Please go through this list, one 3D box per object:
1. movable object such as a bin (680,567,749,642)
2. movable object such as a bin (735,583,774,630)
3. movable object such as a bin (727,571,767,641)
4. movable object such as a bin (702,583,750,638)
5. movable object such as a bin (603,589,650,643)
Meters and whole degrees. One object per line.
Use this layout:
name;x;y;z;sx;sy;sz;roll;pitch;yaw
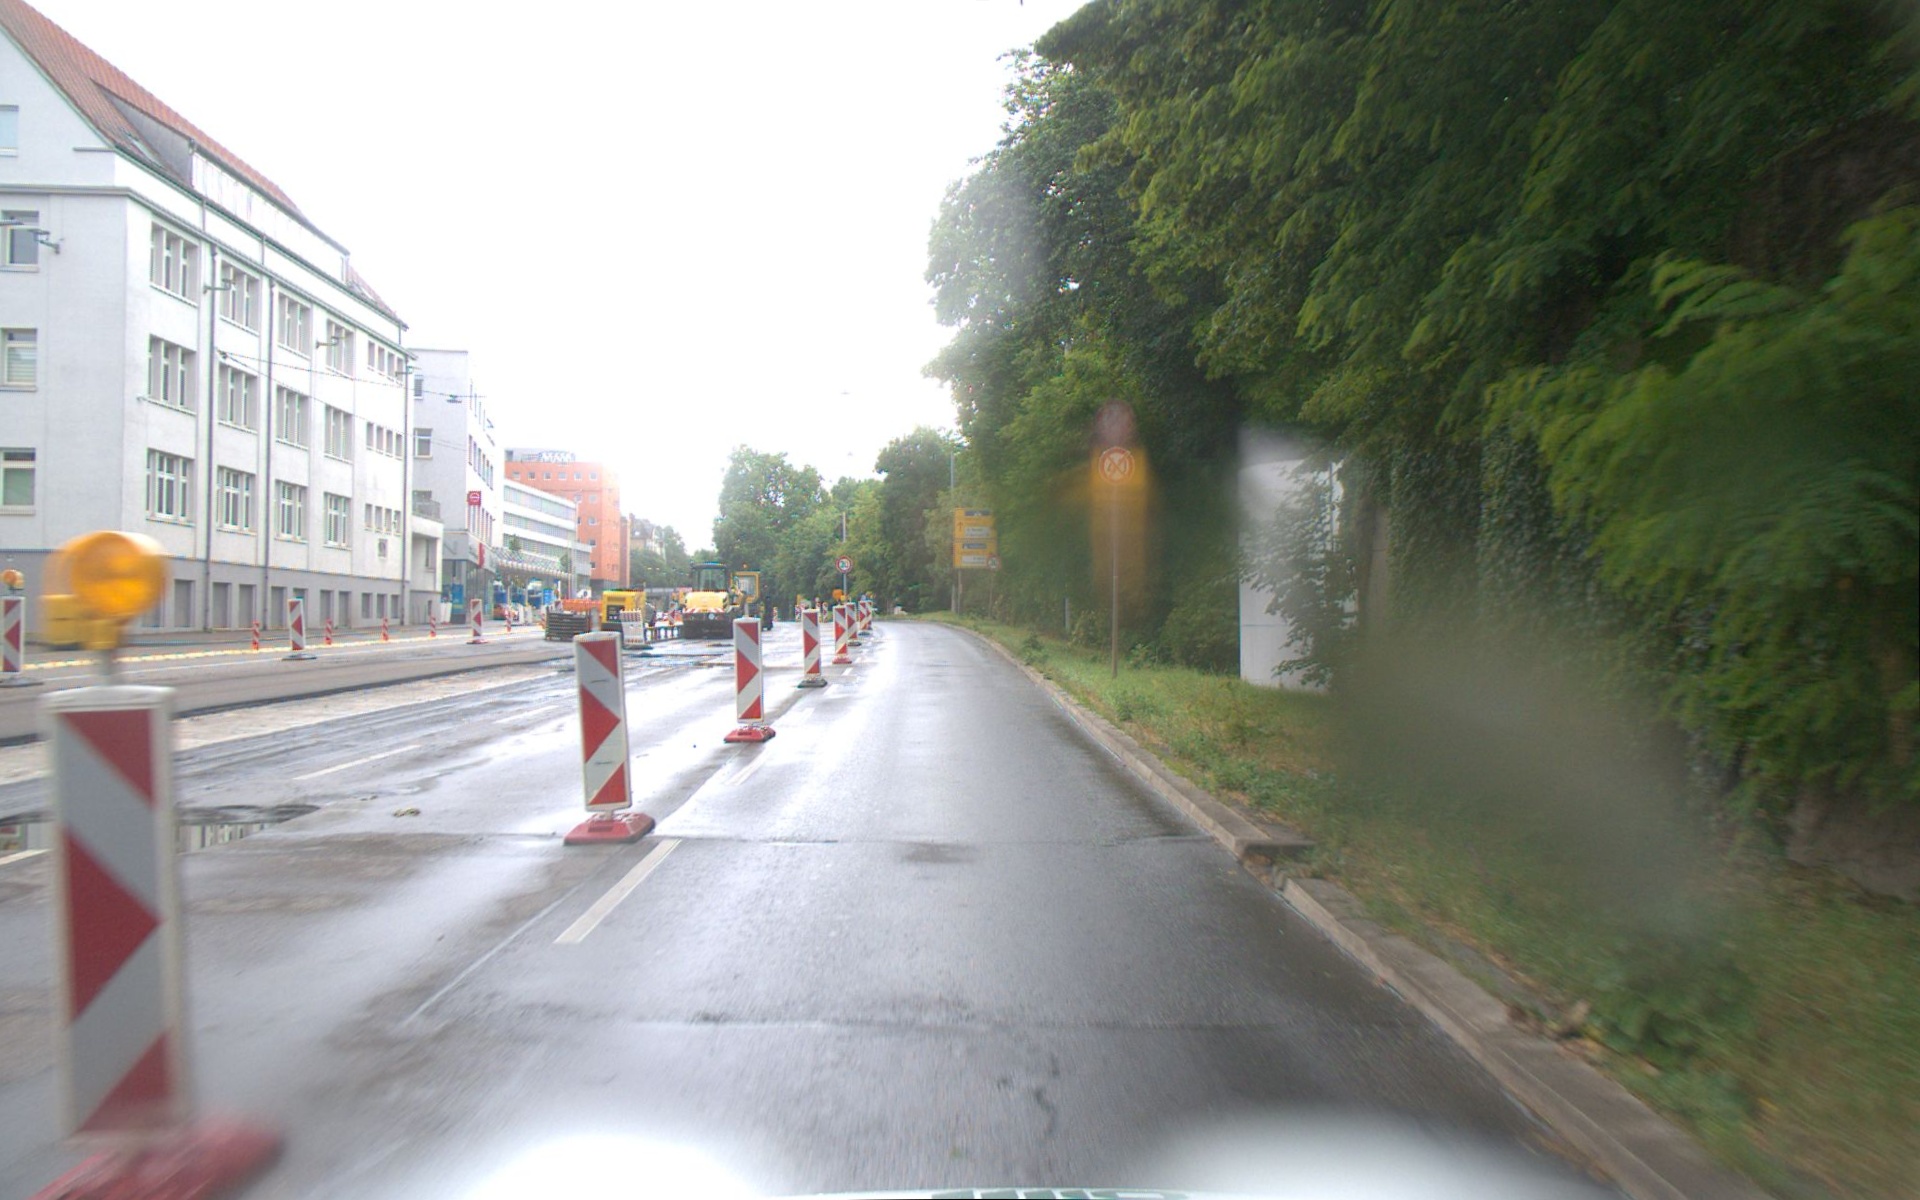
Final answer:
movable object such as a bin;-9.032;0.147;61.211;1.864;2.655;5.381;0;0;-1
movable object such as a bin;-9.926;0.312;80.127;1.682;2.187;3.346;-2;0;-5
movable object such as a bin;-9.717;0.268;75.791;1.436;3.061;3.722;-2;0;-3
movable object such as a bin;-9.386;0.392;66.586;1.335;2.126;5.028;0;0;-1
movable object such as a bin;-10.598;0.512;52.640;1.061;1.673;2.438;0;0;-2
